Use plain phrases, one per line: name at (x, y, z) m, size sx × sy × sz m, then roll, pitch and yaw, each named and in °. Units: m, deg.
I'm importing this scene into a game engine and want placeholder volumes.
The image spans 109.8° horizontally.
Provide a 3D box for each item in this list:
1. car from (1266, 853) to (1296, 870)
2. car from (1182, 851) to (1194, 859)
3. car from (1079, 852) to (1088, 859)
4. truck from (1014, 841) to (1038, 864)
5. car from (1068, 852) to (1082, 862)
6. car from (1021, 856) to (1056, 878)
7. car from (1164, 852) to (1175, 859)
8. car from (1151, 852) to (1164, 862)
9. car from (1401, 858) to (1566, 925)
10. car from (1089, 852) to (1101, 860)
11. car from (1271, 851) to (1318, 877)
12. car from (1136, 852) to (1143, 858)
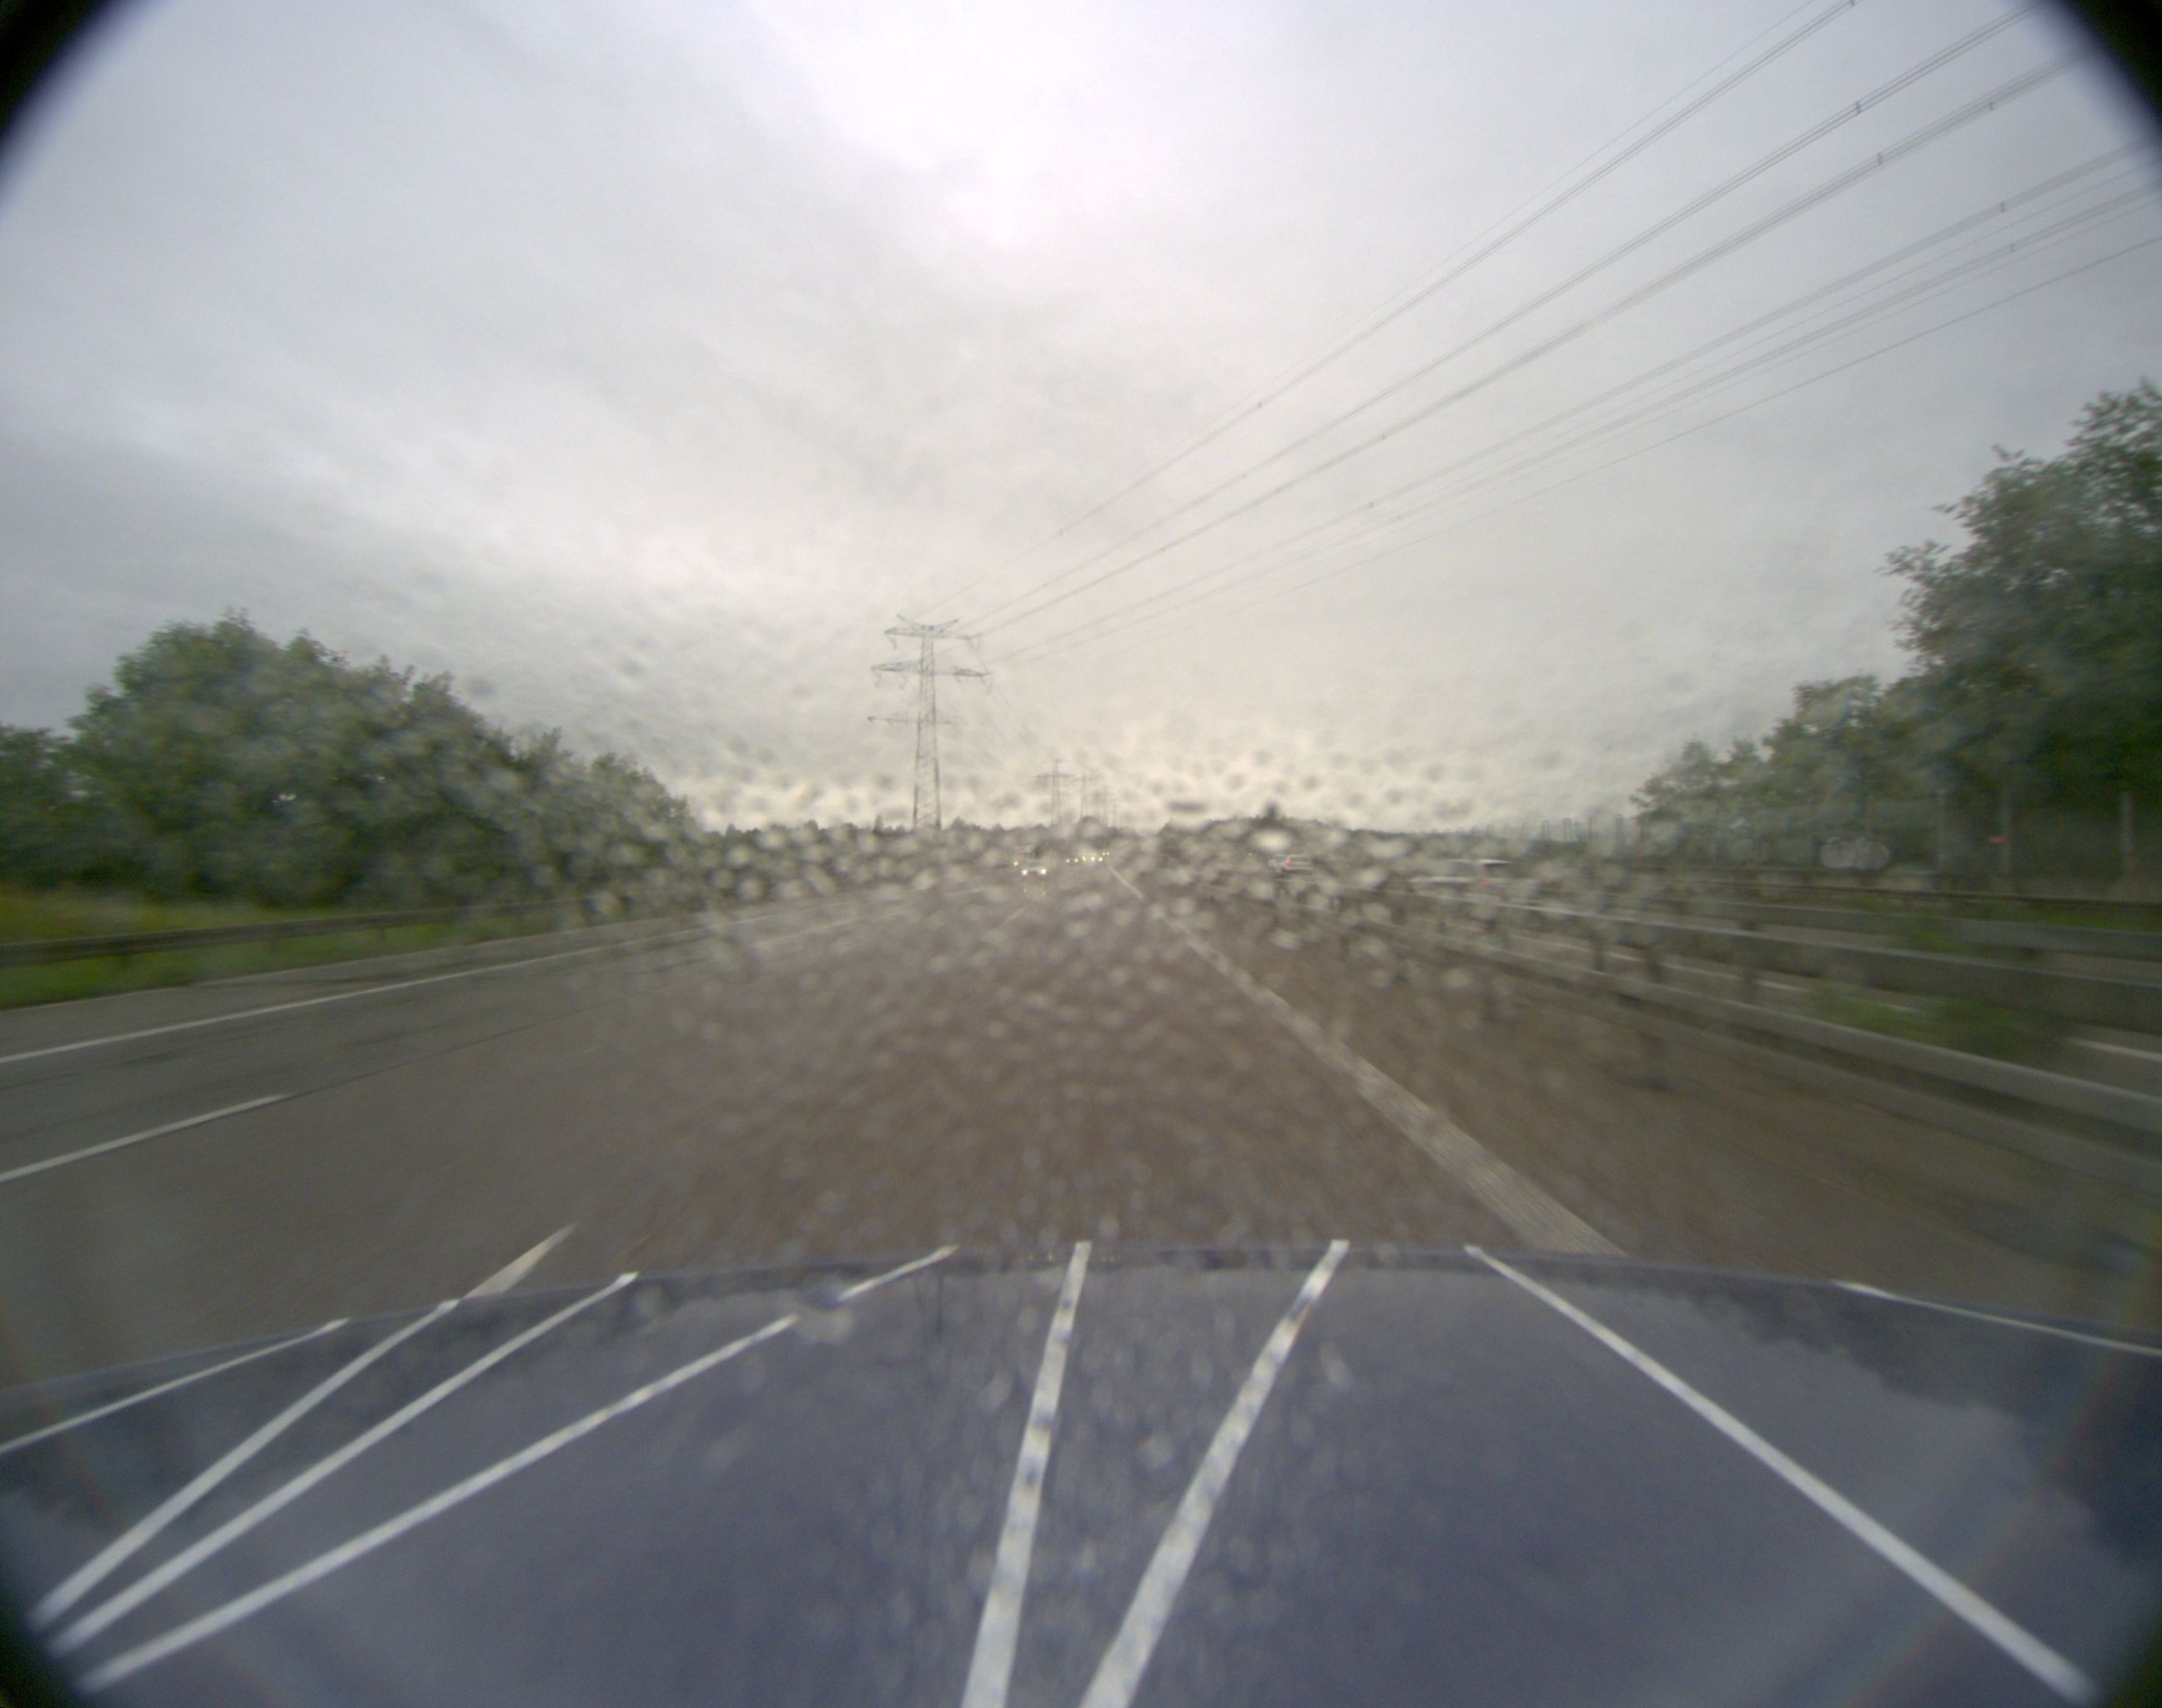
car at (21.317, 0.759, 81.049) m, size 1.954 × 1.808 × 4.916 m, roll 0°, pitch 0°, yaw 0°
car at (20.347, 0.188, 144.573) m, size 1.833 × 1.490 × 3.815 m, roll 0°, pitch 0°, yaw 1°
car at (0.572, 0.282, 162.750) m, size 1.856 × 1.418 × 4.000 m, roll -2°, pitch 1°, yaw 3°
truck at (-8.337, -0.241, 116.236) m, size 2.649 × 3.325 × 6.931 m, roll -2°, pitch 1°, yaw 3°
car at (-0.949, 0.526, 119.847) m, size 1.998 × 1.418 × 4.000 m, roll -2°, pitch 1°, yaw 3°
car at (-2.940, 0.892, 53.475) m, size 1.998 × 1.418 × 4.000 m, roll -2°, pitch 1°, yaw 3°
car at (17.907, 0.267, 154.303) m, size 1.833 × 1.490 × 3.815 m, roll 0°, pitch 0°, yaw 1°
car at (11.967, 0.420, 118.999) m, size 1.833 × 1.584 × 3.815 m, roll 0°, pitch 0°, yaw 1°
car at (10.075, 0.856, 19.516) m, size 1.761 × 1.453 × 4.762 m, roll 1°, pitch 0°, yaw 1°
car at (2.709, 0.435, 144.014) m, size 1.998 × 1.418 × 4.000 m, roll -2°, pitch 1°, yaw 3°
car at (14.366, 0.641, 51.349) m, size 1.909 × 1.655 × 4.714 m, roll 0°, pitch 0°, yaw 1°
car at (14.159, 0.182, 183.964) m, size 1.660 × 1.428 × 4.089 m, roll 1°, pitch 0°, yaw 1°
